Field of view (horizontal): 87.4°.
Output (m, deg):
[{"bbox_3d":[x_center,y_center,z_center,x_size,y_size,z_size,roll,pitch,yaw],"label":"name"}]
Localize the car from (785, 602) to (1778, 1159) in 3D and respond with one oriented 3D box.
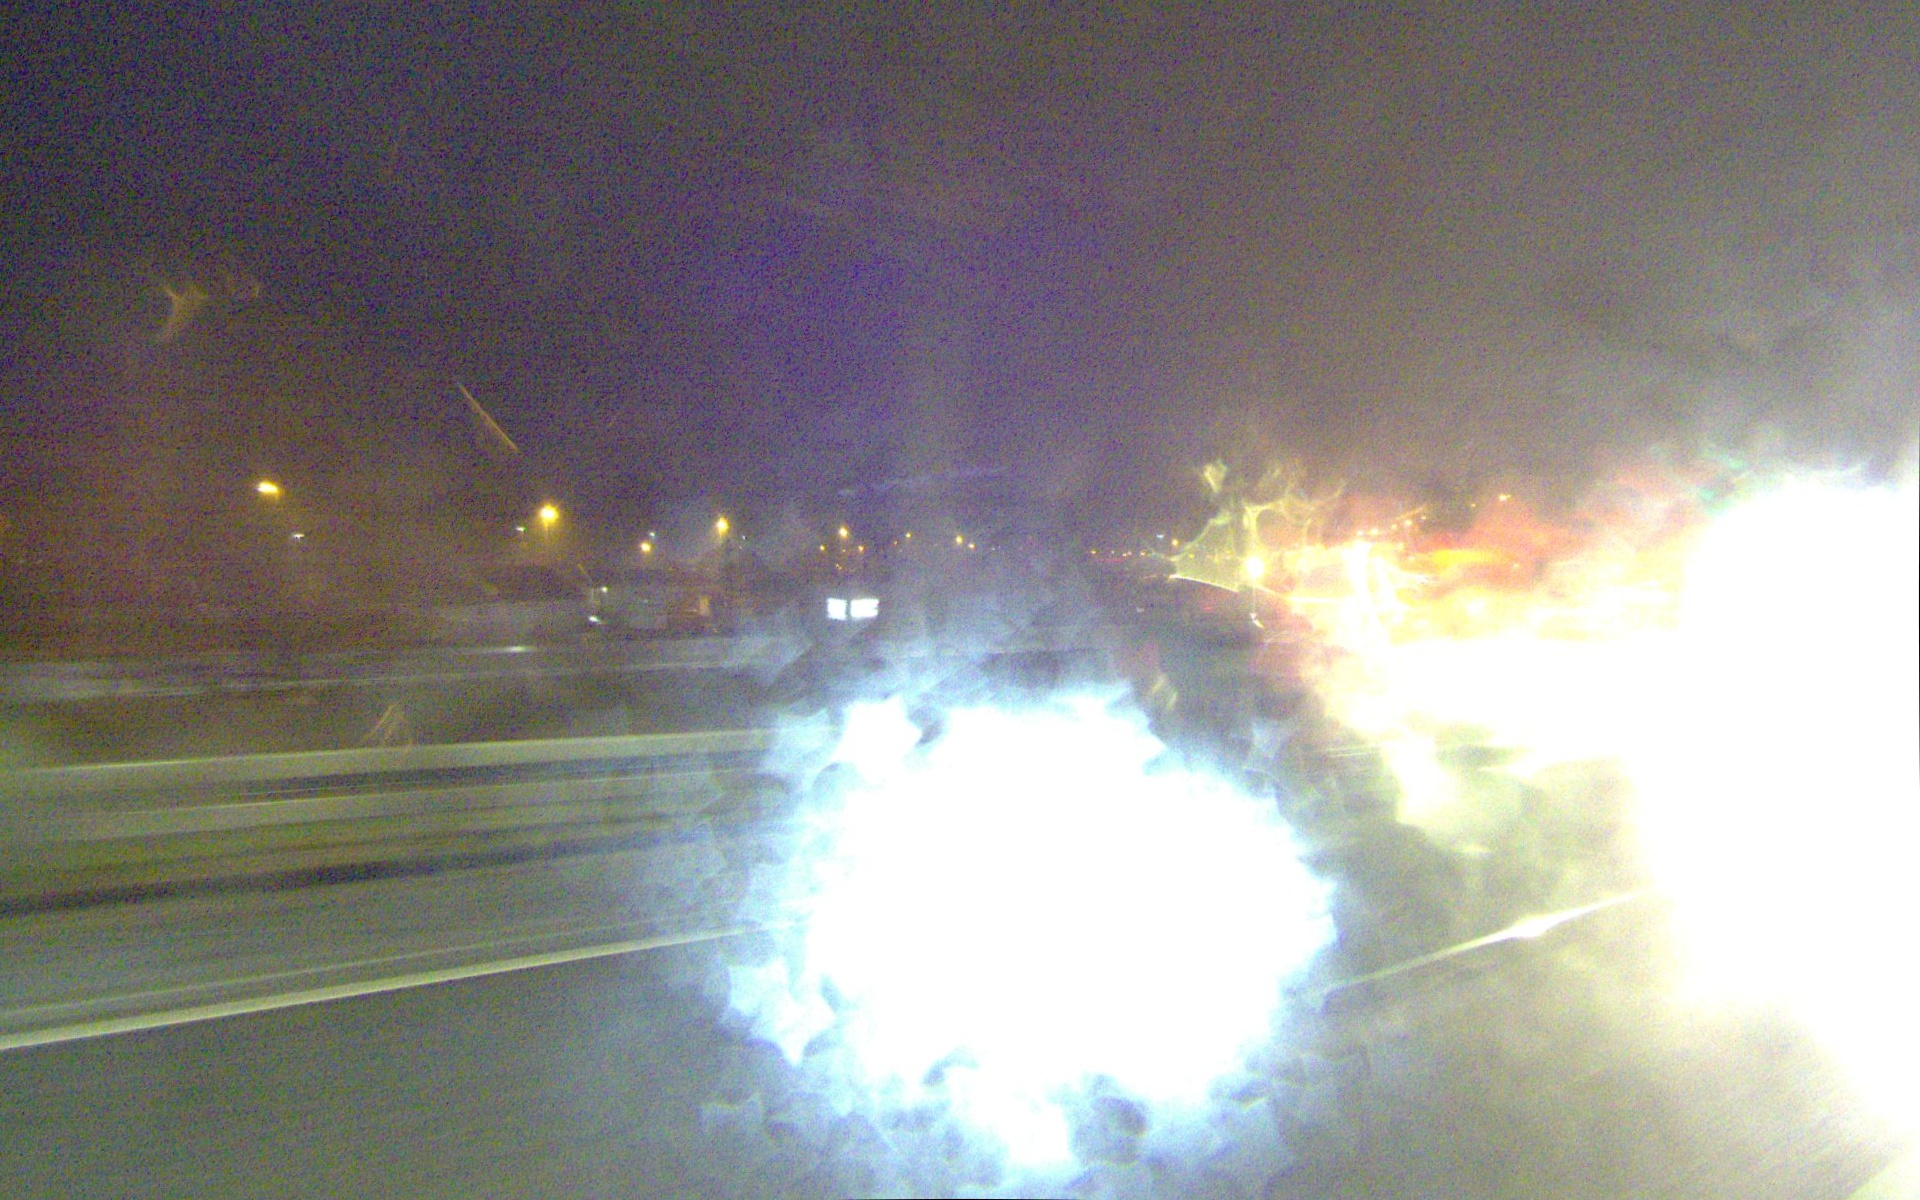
[{"bbox_3d":[1.684,0.795,4.535,4.541,1.410,1.782,2,-2,-32],"label":"car"}]
